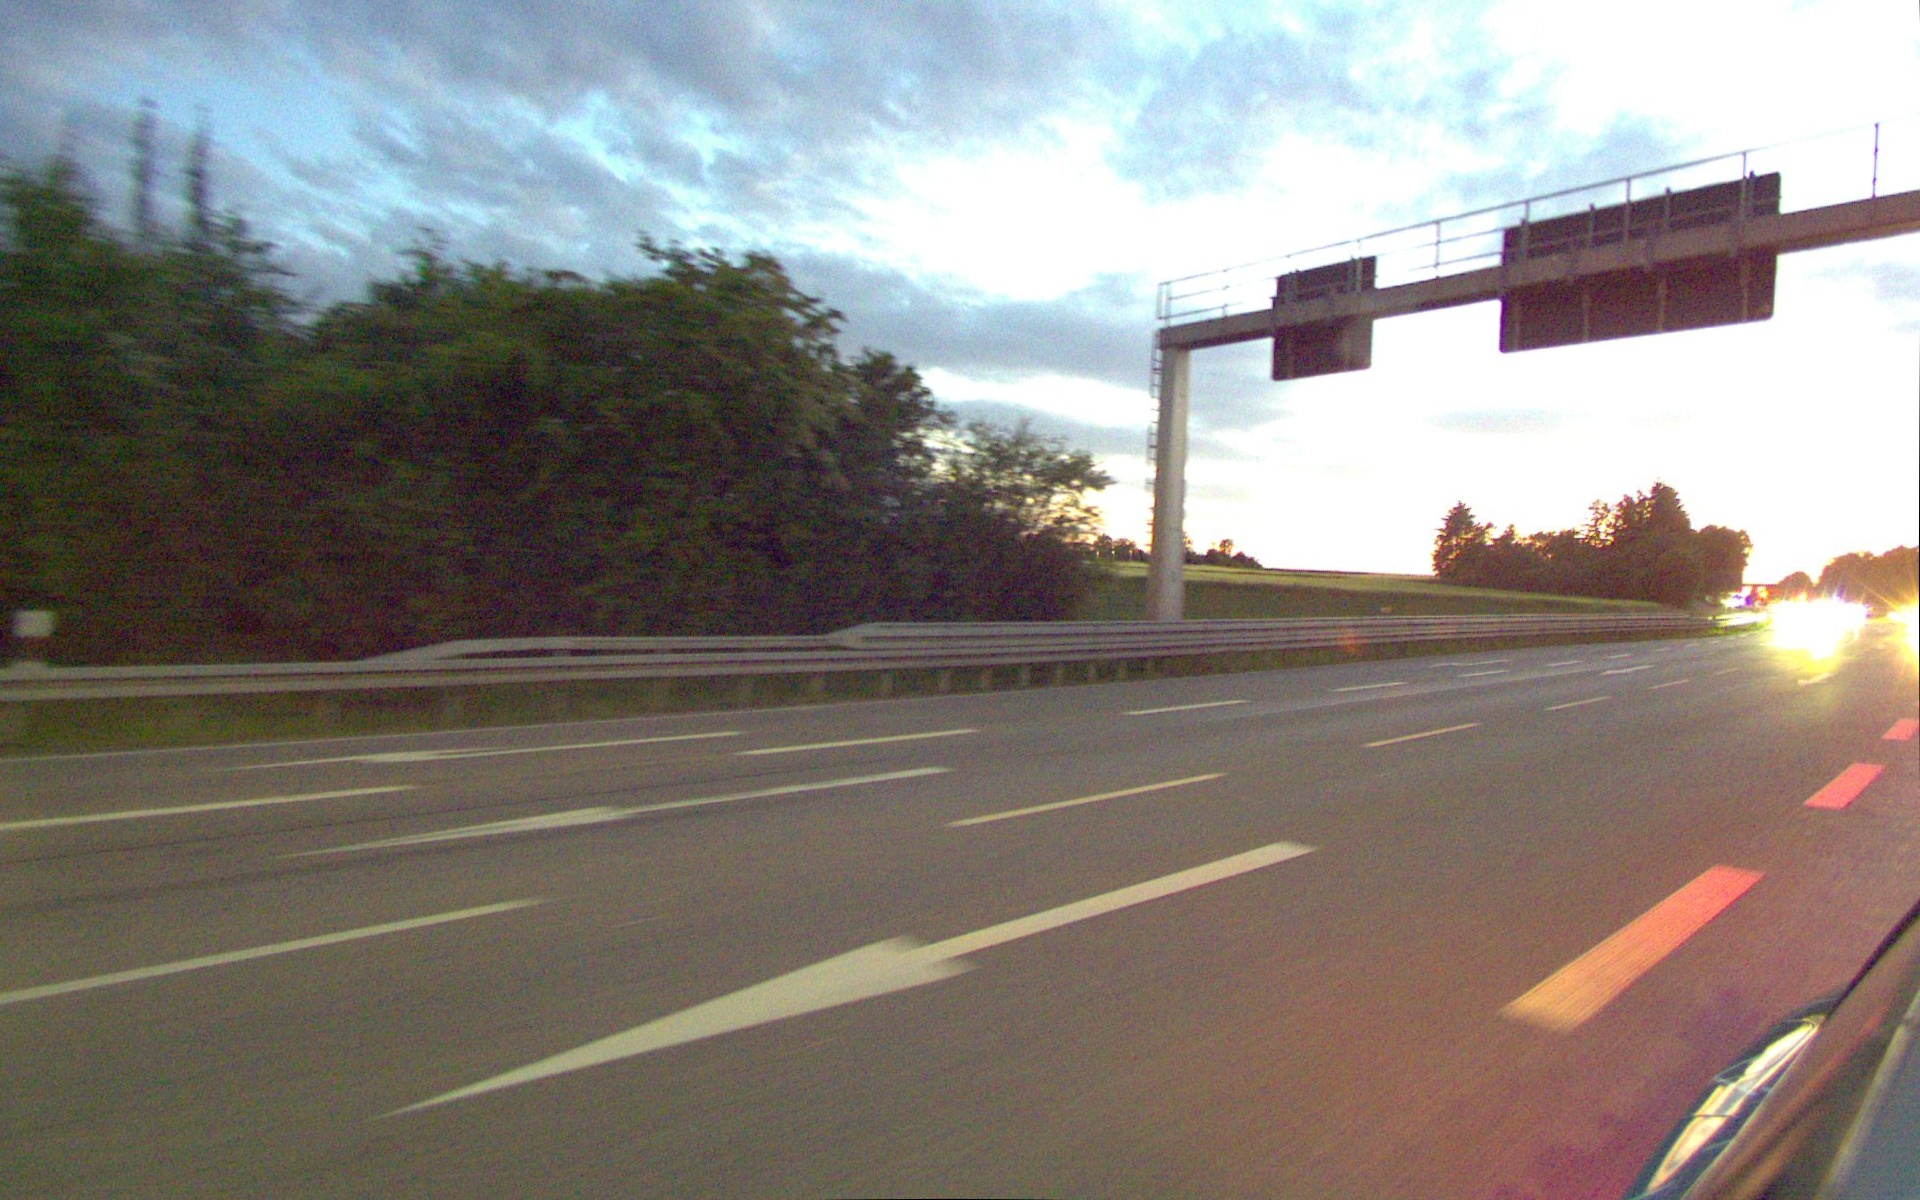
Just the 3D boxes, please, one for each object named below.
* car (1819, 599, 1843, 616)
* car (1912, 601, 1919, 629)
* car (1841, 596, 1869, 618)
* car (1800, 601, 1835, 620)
[{"bbox_3d":[94.629,0.835,109.977,1.825,1.772,3.795,-1,-1,39],"label":"car"},{"bbox_3d":[52.368,0.769,54.164,1.748,1.474,3.749,-1,-1,39],"label":"car"},{"bbox_3d":[86.532,0.637,97.811,1.857,2.039,3.936,0,0,44],"label":"car"},{"bbox_3d":[73.579,0.873,86.820,1.994,1.604,3.936,0,0,44],"label":"car"}]
